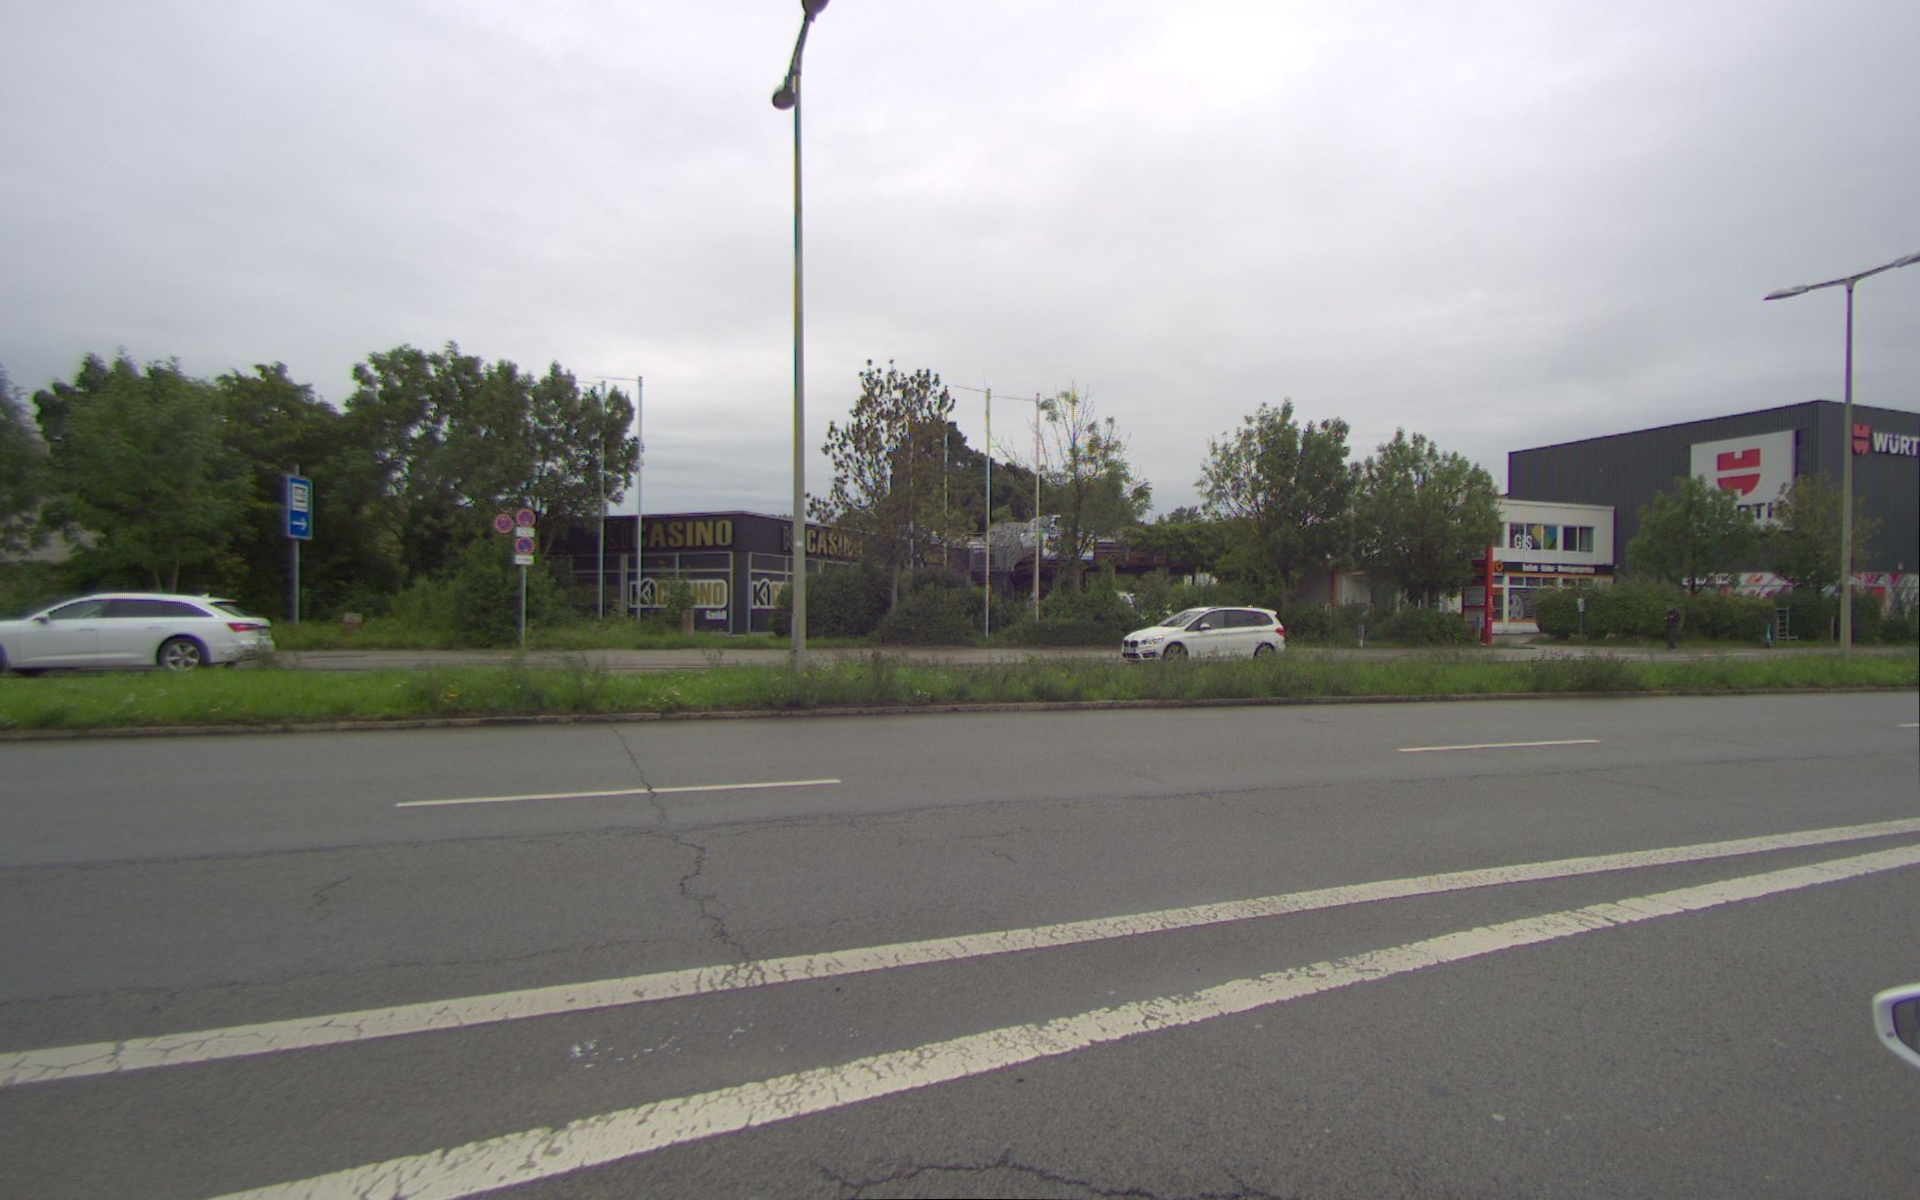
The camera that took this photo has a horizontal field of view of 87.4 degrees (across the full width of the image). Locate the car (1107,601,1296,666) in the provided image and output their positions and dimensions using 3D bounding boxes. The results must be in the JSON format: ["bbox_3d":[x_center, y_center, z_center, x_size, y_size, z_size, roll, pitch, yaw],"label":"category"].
[{"bbox_3d":[6.345,0.890,26.408,4.506,1.593,1.990,1,-1,-21],"label":"car"}]

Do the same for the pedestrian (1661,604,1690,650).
[{"bbox_3d":[29.503,1.103,41.404,0.805,1.854,0.621,0,0,-21],"label":"pedestrian"}]

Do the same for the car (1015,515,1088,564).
[{"bbox_3d":[4.925,-3.253,54.945,2.103,2.039,4.778,4,-4,-20],"label":"car"}]

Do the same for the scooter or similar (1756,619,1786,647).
[{"bbox_3d":[36.087,1.471,44.668,1.367,1.244,0.444,1,0,-23],"label":"scooter or similar"}]

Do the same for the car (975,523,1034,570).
[{"bbox_3d":[2.833,-3.409,65.194,2.103,2.400,4.778,4,-4,-20],"label":"car"}]

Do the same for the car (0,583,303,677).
[{"bbox_3d":[-15.353,0.554,18.520,5.043,1.593,1.990,1,-1,-21],"label":"car"}]
